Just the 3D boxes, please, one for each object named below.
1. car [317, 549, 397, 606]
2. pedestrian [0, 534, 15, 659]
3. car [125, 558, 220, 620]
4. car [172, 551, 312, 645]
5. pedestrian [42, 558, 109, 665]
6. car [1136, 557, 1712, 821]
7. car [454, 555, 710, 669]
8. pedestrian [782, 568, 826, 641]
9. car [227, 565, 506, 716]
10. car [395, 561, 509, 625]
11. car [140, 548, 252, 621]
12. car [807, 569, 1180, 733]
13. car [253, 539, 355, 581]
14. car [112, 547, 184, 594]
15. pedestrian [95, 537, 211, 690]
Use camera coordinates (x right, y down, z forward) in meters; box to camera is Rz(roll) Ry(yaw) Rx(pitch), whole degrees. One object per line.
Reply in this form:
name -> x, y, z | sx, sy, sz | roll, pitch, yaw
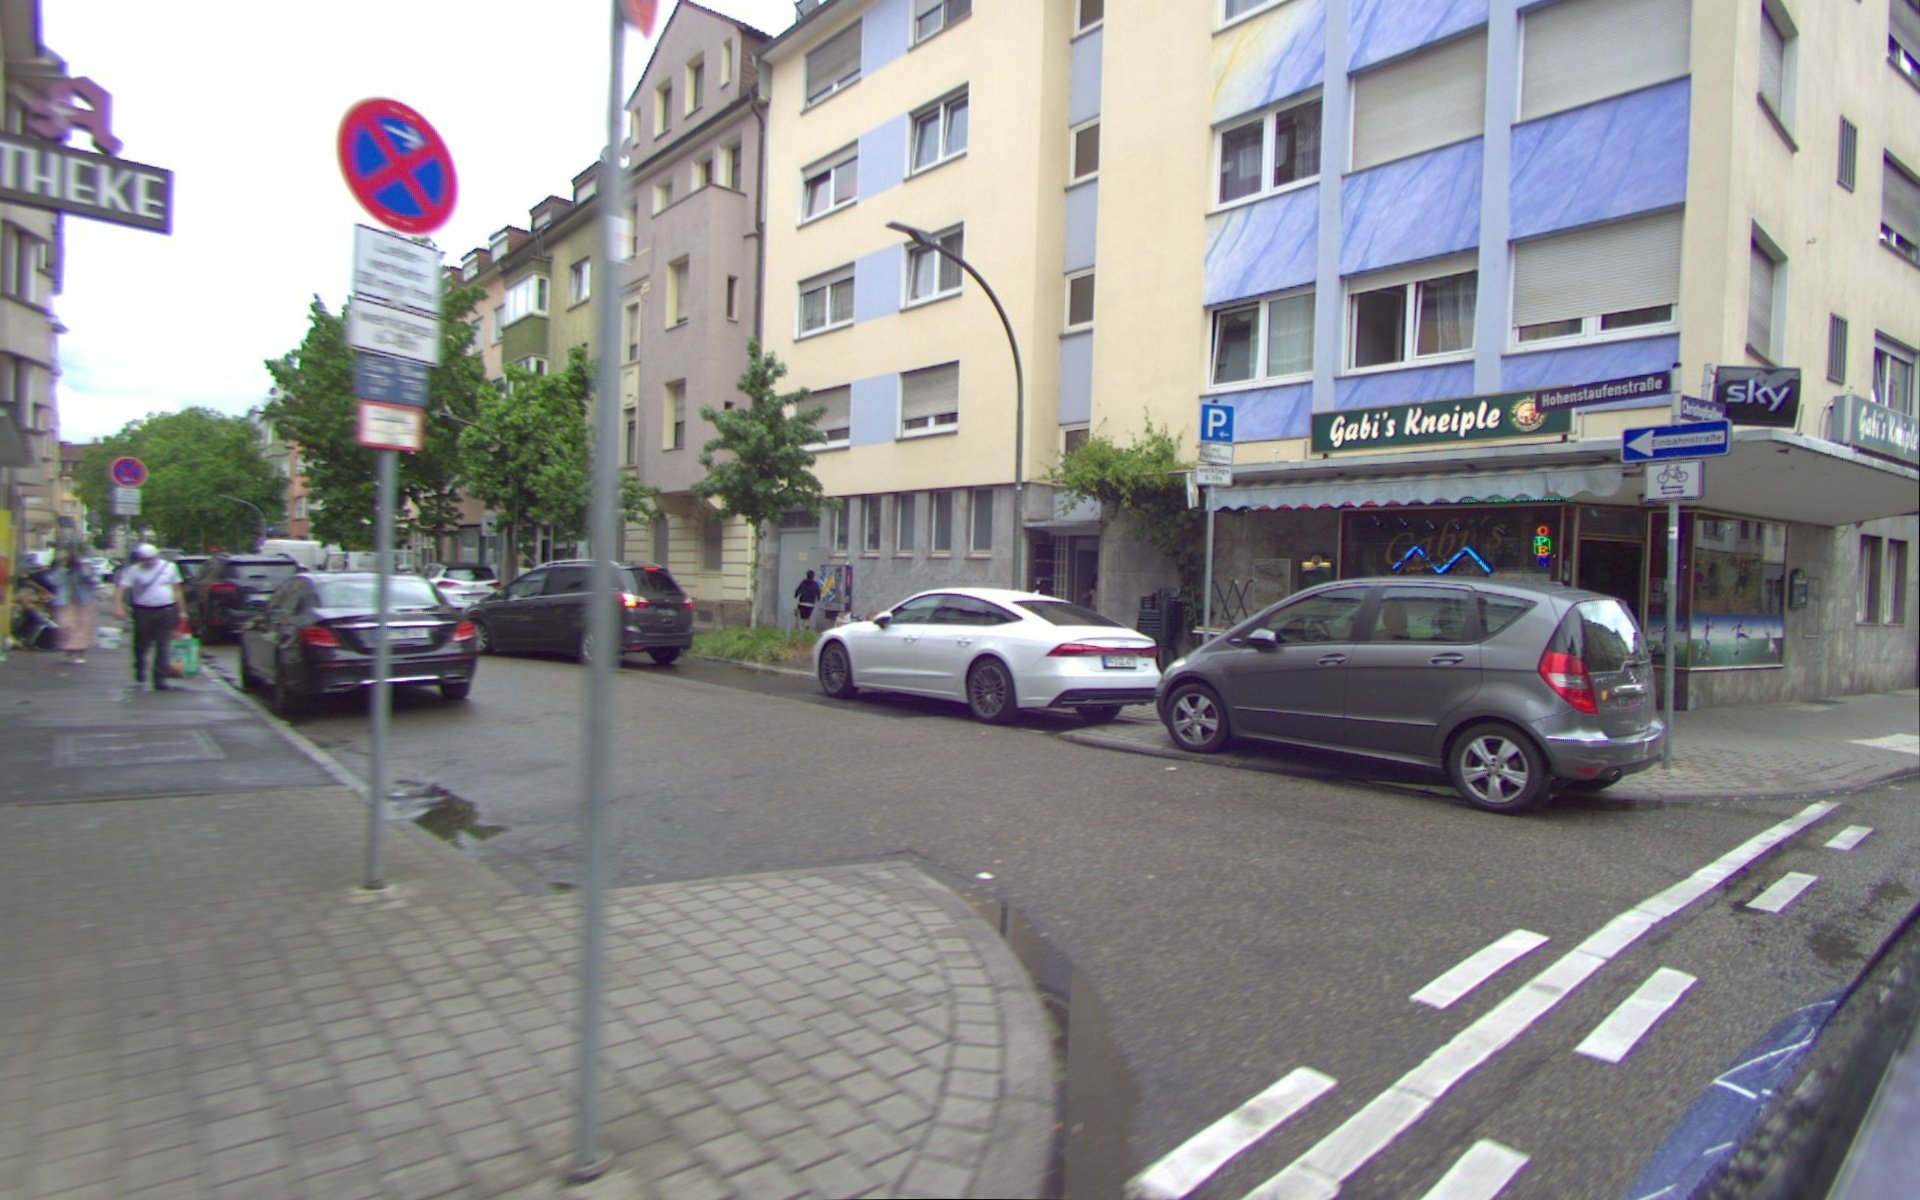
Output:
car -> -22.637, -0.866, 37.931 | 1.839, 1.985, 4.074 | 1, 2, -41
pedestrian -> -13.379, -0.060, 13.871 | 0.536, 1.704, 0.584 | 3, 1, 44
car -> -22.313, -0.325, 28.630 | 1.665, 1.588, 3.721 | 1, 2, -45
car -> -14.253, -0.086, 20.011 | 1.665, 1.650, 3.721 | 1, 2, -45
pedestrian -> -12.020, 0.147, 13.746 | 0.690, 1.391, 0.616 | 3, 1, 45
car -> 3.560, 0.501, 8.330 | 1.901, 1.593, 3.835 | 1, 2, -38
car -> -6.388, 0.131, 17.065 | 3.984, 1.638, 1.789 | 3, 1, 26
pedestrian -> -3.503, 0.096, 22.715 | 0.634, 1.593, 0.704 | 1, 1, -41
car -> -7.022, 0.350, 11.787 | 1.841, 1.369, 4.070 | 1, 2, -45
car -> -14.124, -0.226, 28.025 | 1.839, 1.577, 4.074 | 1, 2, -41
car -> -18.541, -0.405, 24.514 | 1.665, 1.588, 3.721 | 1, 2, -45
car -> 0.181, 0.440, 11.835 | 1.755, 1.460, 4.487 | 1, 2, -41
car -> -33.900, -2.045, 52.390 | 1.980, 2.038, 3.964 | 3, 1, 26
car -> -29.697, -1.109, 36.985 | 1.665, 1.588, 3.721 | 1, 2, -45
pedestrian -> -9.421, 0.136, 11.820 | 0.858, 1.688, 0.938 | 3, 1, 44
